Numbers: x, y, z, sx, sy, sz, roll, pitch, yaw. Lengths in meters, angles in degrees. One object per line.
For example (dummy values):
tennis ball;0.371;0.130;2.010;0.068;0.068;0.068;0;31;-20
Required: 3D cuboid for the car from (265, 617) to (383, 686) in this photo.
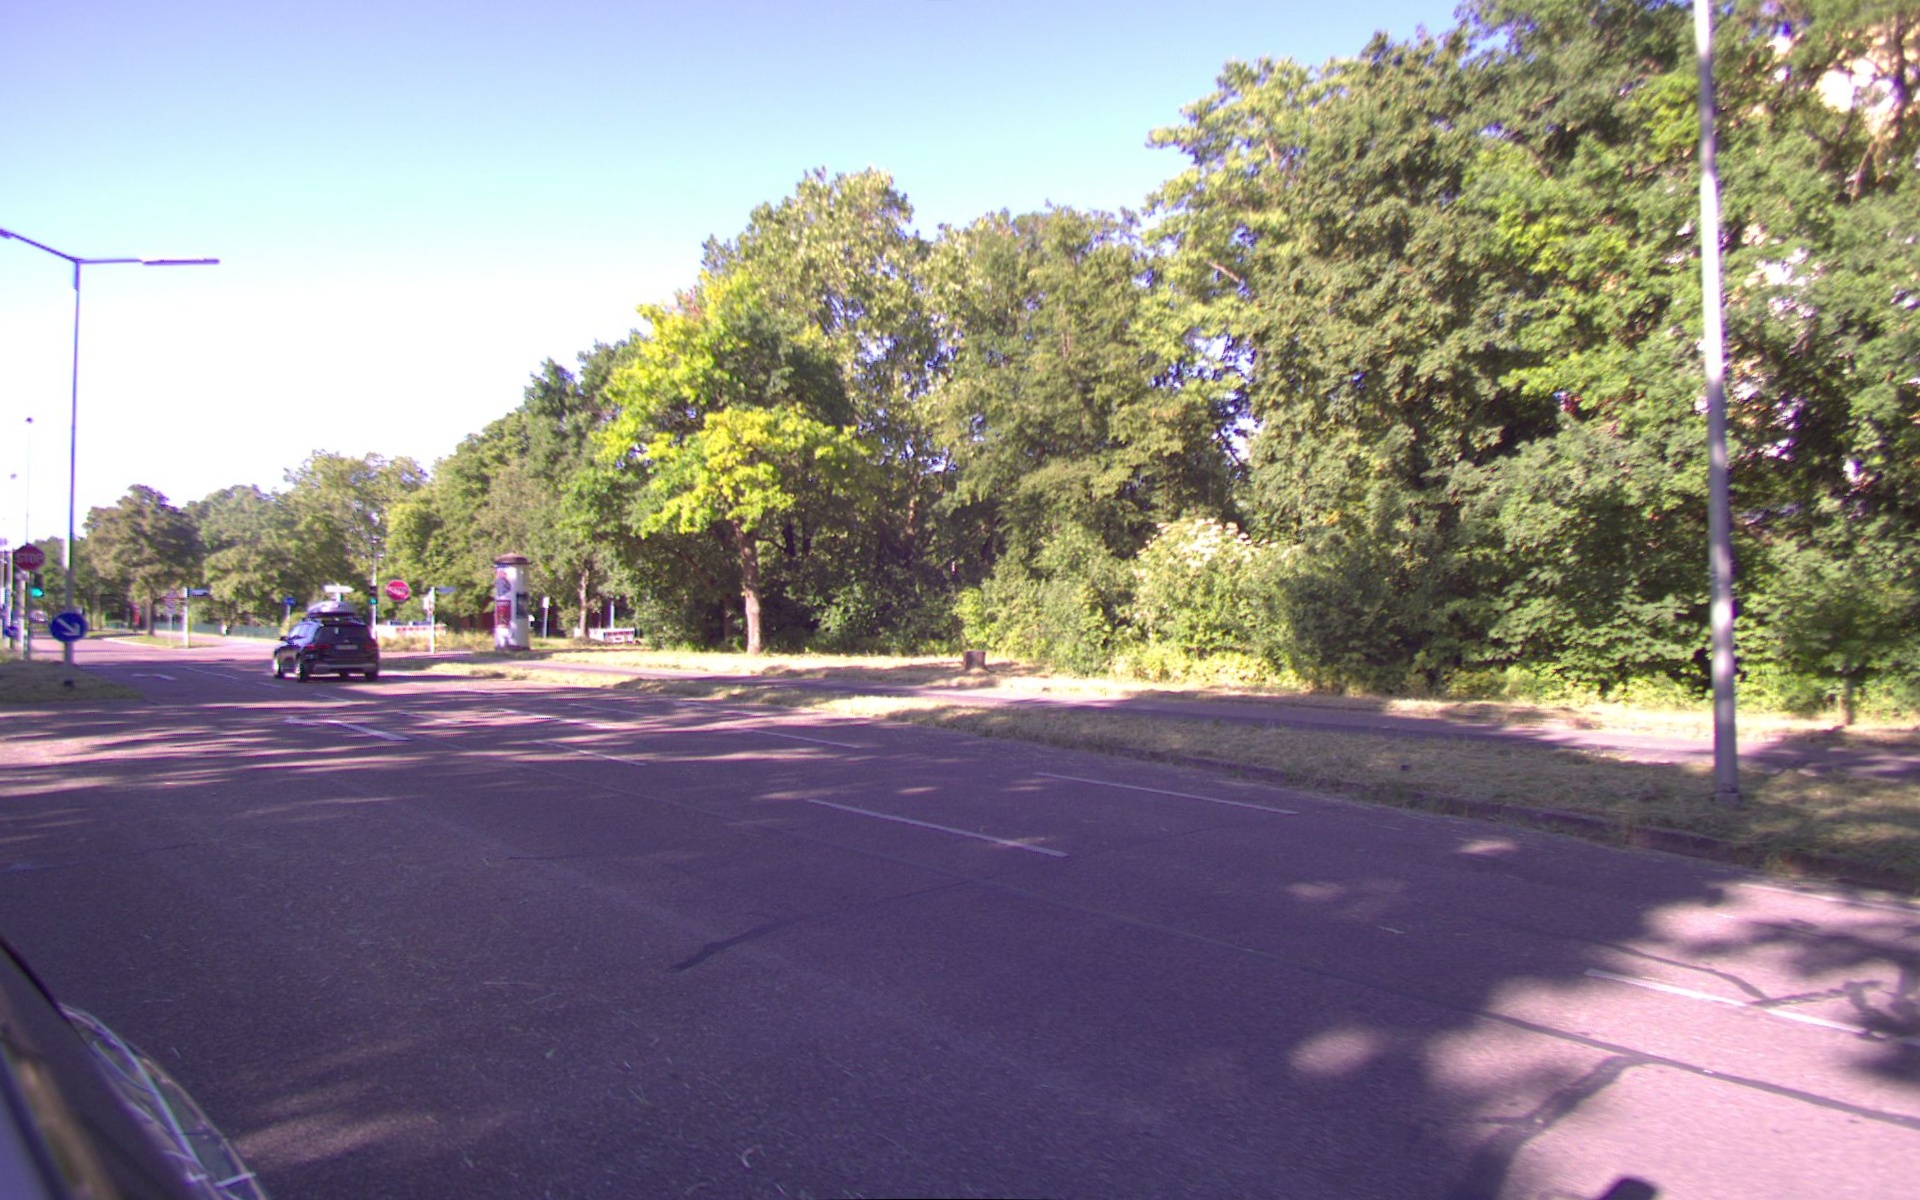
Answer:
car;-17.405;1.368;27.612;1.818;1.721;4.508;3;-3;-44
